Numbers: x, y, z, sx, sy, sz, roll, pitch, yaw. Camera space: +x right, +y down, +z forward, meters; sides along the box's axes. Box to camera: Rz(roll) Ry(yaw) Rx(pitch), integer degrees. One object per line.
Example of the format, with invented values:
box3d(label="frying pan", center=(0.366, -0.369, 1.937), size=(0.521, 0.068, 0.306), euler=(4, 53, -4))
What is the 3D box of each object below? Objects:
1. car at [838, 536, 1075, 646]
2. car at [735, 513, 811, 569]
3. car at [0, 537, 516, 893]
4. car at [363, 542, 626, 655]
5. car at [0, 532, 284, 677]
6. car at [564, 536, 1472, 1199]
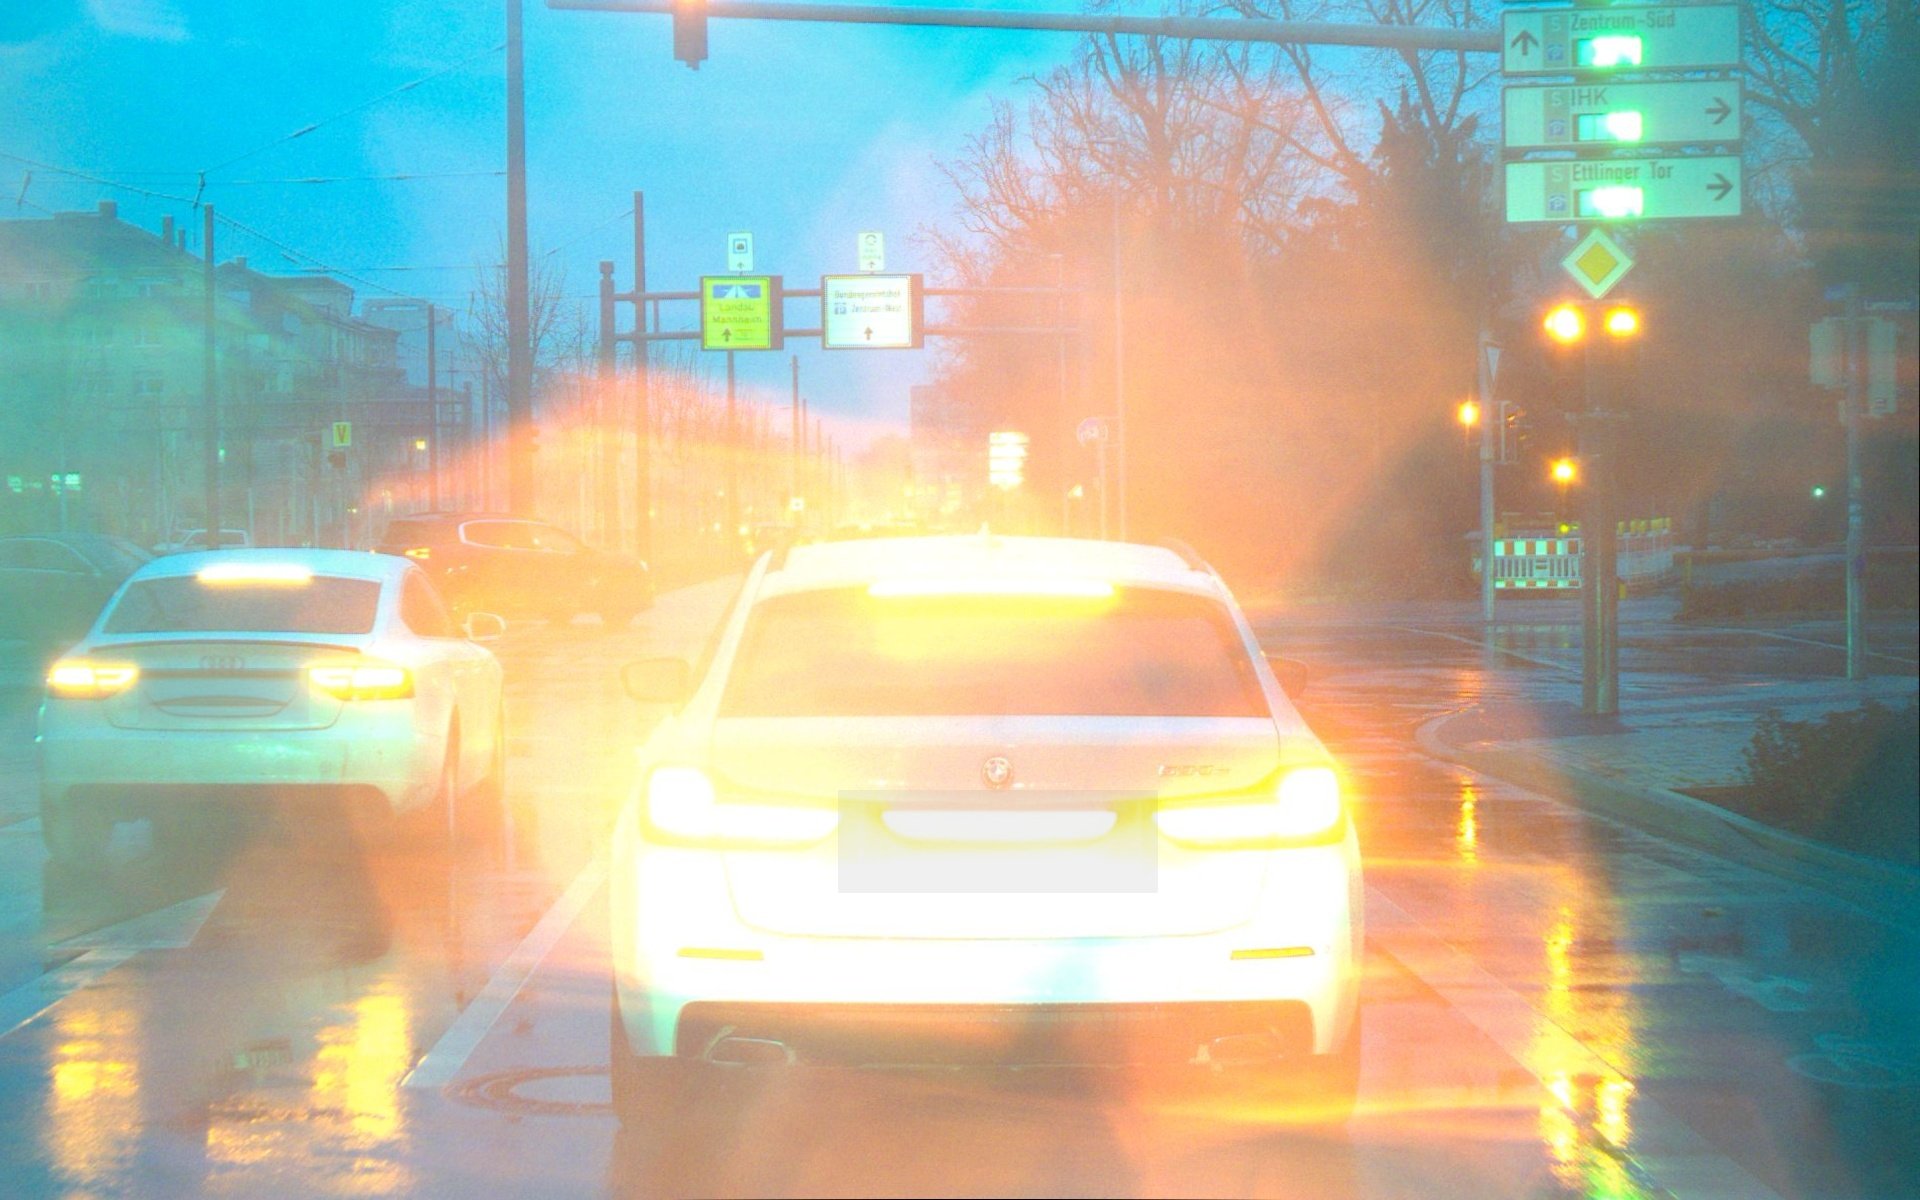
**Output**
box3d(label="car", center=(-0.093, -0.158, 52.576), size=(1.843, 1.603, 3.945), euler=(1, 1, -31))
box3d(label="car", center=(-5.026, -1.598, 92.486), size=(1.993, 1.451, 4.369), euler=(0, 2, -3))
box3d(label="car", center=(-3.320, 0.443, 16.622), size=(1.993, 1.451, 4.369), euler=(0, 2, -3))
box3d(label="car", center=(-6.921, -0.031, 51.474), size=(1.846, 1.603, 3.938), euler=(1, 1, 30))
box3d(label="car", center=(-10.855, 0.034, 42.095), size=(4.698, 1.714, 1.867), euler=(0, 0, 13))
box3d(label="car", center=(0.022, 0.563, 9.726), size=(1.993, 1.451, 4.369), euler=(0, 2, -3))
